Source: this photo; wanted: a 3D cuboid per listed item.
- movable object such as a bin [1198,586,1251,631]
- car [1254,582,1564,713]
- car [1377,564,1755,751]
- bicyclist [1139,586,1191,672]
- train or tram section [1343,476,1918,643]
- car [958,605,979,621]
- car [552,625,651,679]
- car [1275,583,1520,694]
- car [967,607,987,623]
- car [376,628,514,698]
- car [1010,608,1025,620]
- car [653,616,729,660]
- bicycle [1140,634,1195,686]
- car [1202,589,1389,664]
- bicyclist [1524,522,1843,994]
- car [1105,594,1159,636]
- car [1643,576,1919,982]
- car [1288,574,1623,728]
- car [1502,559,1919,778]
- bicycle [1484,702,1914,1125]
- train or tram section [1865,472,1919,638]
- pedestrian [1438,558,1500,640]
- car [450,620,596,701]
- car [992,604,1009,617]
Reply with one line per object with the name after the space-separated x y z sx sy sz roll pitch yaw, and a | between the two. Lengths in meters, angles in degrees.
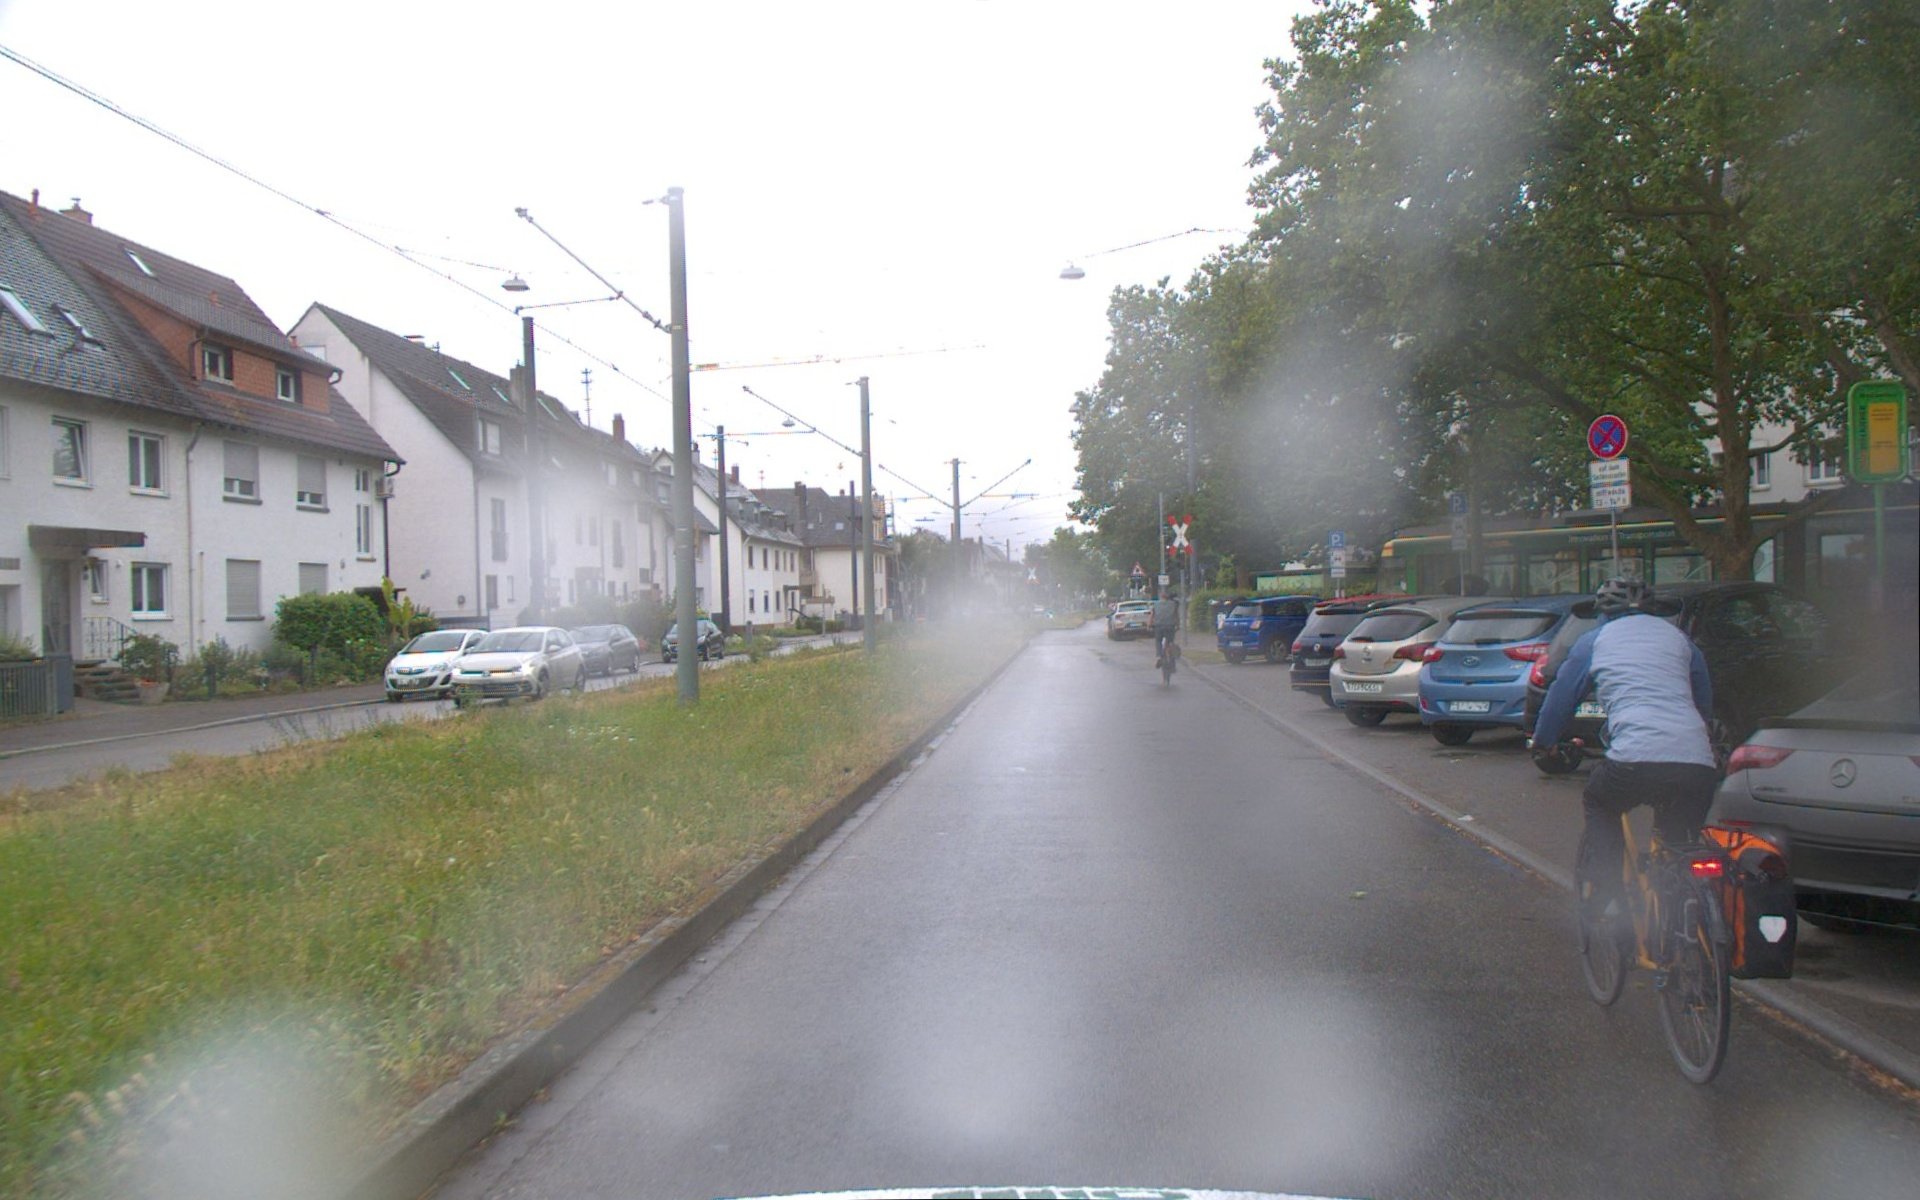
10.639 0.360 66.576 1.526 1.733 1.492 -2 0 -20 | movable object such as a bin
6.407 0.639 23.540 4.064 1.505 1.849 -4 0 -28 | car
6.454 0.565 17.485 3.958 1.526 1.801 -5 0 -36 | car
3.920 0.560 31.690 0.814 1.585 0.914 -3 -1 1 | bicyclist
16.887 -0.765 43.705 2.689 3.653 14.525 0 -2 -39 | train or tram section
0.994 1.488 185.410 1.951 1.571 4.002 -2 -2 5 | car
-10.463 1.537 48.600 1.567 1.448 4.668 -2 -2 4 | car
7.088 0.598 26.792 3.539 1.505 1.626 -4 0 -23 | car
2.032 1.775 191.553 1.951 1.735 4.002 -2 -2 5 | car
-11.460 1.408 37.053 1.567 1.449 3.945 -2 -2 4 | car
8.456 2.016 242.470 1.951 1.571 4.002 -2 -2 5 | car
-9.890 1.434 60.991 1.837 1.530 4.135 -2 -2 4 | car
3.949 1.128 31.670 0.804 0.928 1.986 -3 -1 1 | bicycle
7.871 0.584 38.781 3.942 1.509 1.982 -3 1 -28 | car
2.492 0.509 5.794 0.735 1.511 0.847 -2 1 3 | bicyclist
7.168 0.646 69.220 1.914 1.580 4.001 -4 -1 3 | car
5.431 0.609 7.478 4.478 1.502 1.790 -2 0 -26 | car
6.130 0.604 20.327 3.959 1.580 1.935 -3 -1 -38 | car
6.606 0.544 14.354 3.472 1.532 1.735 -4 -1 -32 | car
2.516 1.003 5.914 0.737 1.091 1.928 -2 1 3 | bicycle
25.989 -1.158 32.398 2.689 3.653 14.525 0 -2 -39 | train or tram section
11.271 -0.021 36.640 1.022 1.744 1.081 -3 0 4 | pedestrian
-8.521 1.196 32.551 1.567 1.449 3.821 -2 -2 5 | car
5.275 1.410 216.767 1.951 1.571 4.002 -2 -2 5 | car
